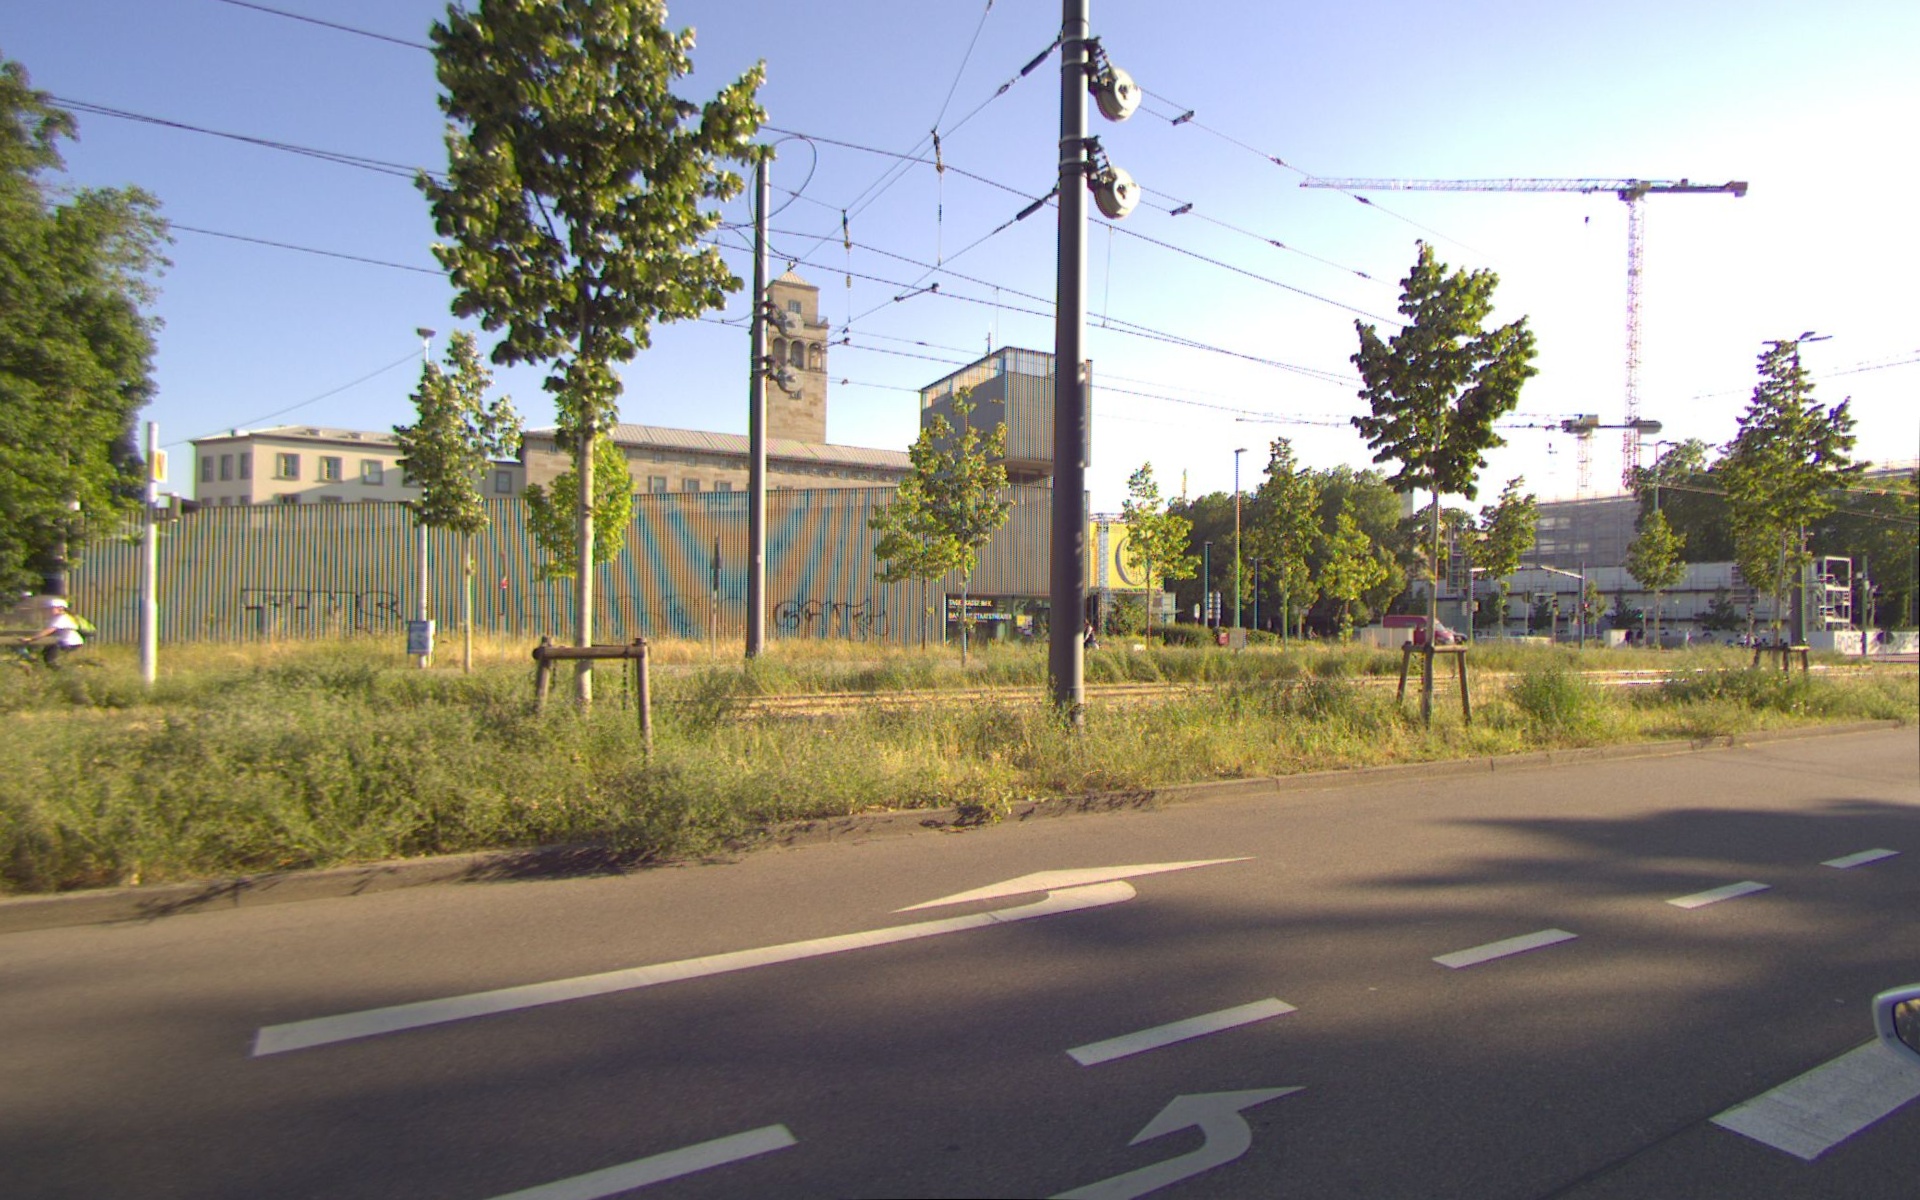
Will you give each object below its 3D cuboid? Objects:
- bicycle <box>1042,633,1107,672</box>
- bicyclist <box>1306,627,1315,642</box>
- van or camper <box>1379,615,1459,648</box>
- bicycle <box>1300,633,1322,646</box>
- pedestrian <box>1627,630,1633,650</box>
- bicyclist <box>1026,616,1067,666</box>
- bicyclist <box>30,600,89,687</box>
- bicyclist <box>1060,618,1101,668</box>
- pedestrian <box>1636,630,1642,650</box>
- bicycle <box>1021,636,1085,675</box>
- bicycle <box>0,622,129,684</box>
[{"bbox_3d":[3.425,1.543,29.955,1.964,1.119,0.581,1,-1,-30],"label":"bicycle"},{"bbox_3d":[26.712,2.629,76.574,0.500,1.157,0.408,1,-1,-36],"label":"bicyclist"},{"bbox_3d":[36.168,2.444,79.242,2.128,2.446,5.637,1,-1,-28],"label":"van or camper"},{"bbox_3d":[26.726,3.010,76.535,0.502,0.984,1.642,1,-1,-35],"label":"bicycle"},{"bbox_3d":[50.655,2.998,75.950,0.277,1.484,0.271,1,-1,-41],"label":"pedestrian"},{"bbox_3d":[2.621,1.233,30.406,1.063,1.461,0.581,1,0,-30],"label":"bicyclist"},{"bbox_3d":[-16.186,0.767,18.074,0.660,1.527,0.554,1,-1,-30],"label":"bicyclist"},{"bbox_3d":[3.593,1.282,30.028,1.063,1.461,0.581,1,0,-30],"label":"bicyclist"},{"bbox_3d":[50.974,3.013,75.422,0.313,1.484,0.272,1,-1,-34],"label":"pedestrian"},{"bbox_3d":[2.822,1.672,30.500,1.964,1.119,0.581,1,-1,-30],"label":"bicycle"},{"bbox_3d":[-16.221,0.937,18.058,1.876,1.074,0.556,1,-1,-31],"label":"bicycle"}]
